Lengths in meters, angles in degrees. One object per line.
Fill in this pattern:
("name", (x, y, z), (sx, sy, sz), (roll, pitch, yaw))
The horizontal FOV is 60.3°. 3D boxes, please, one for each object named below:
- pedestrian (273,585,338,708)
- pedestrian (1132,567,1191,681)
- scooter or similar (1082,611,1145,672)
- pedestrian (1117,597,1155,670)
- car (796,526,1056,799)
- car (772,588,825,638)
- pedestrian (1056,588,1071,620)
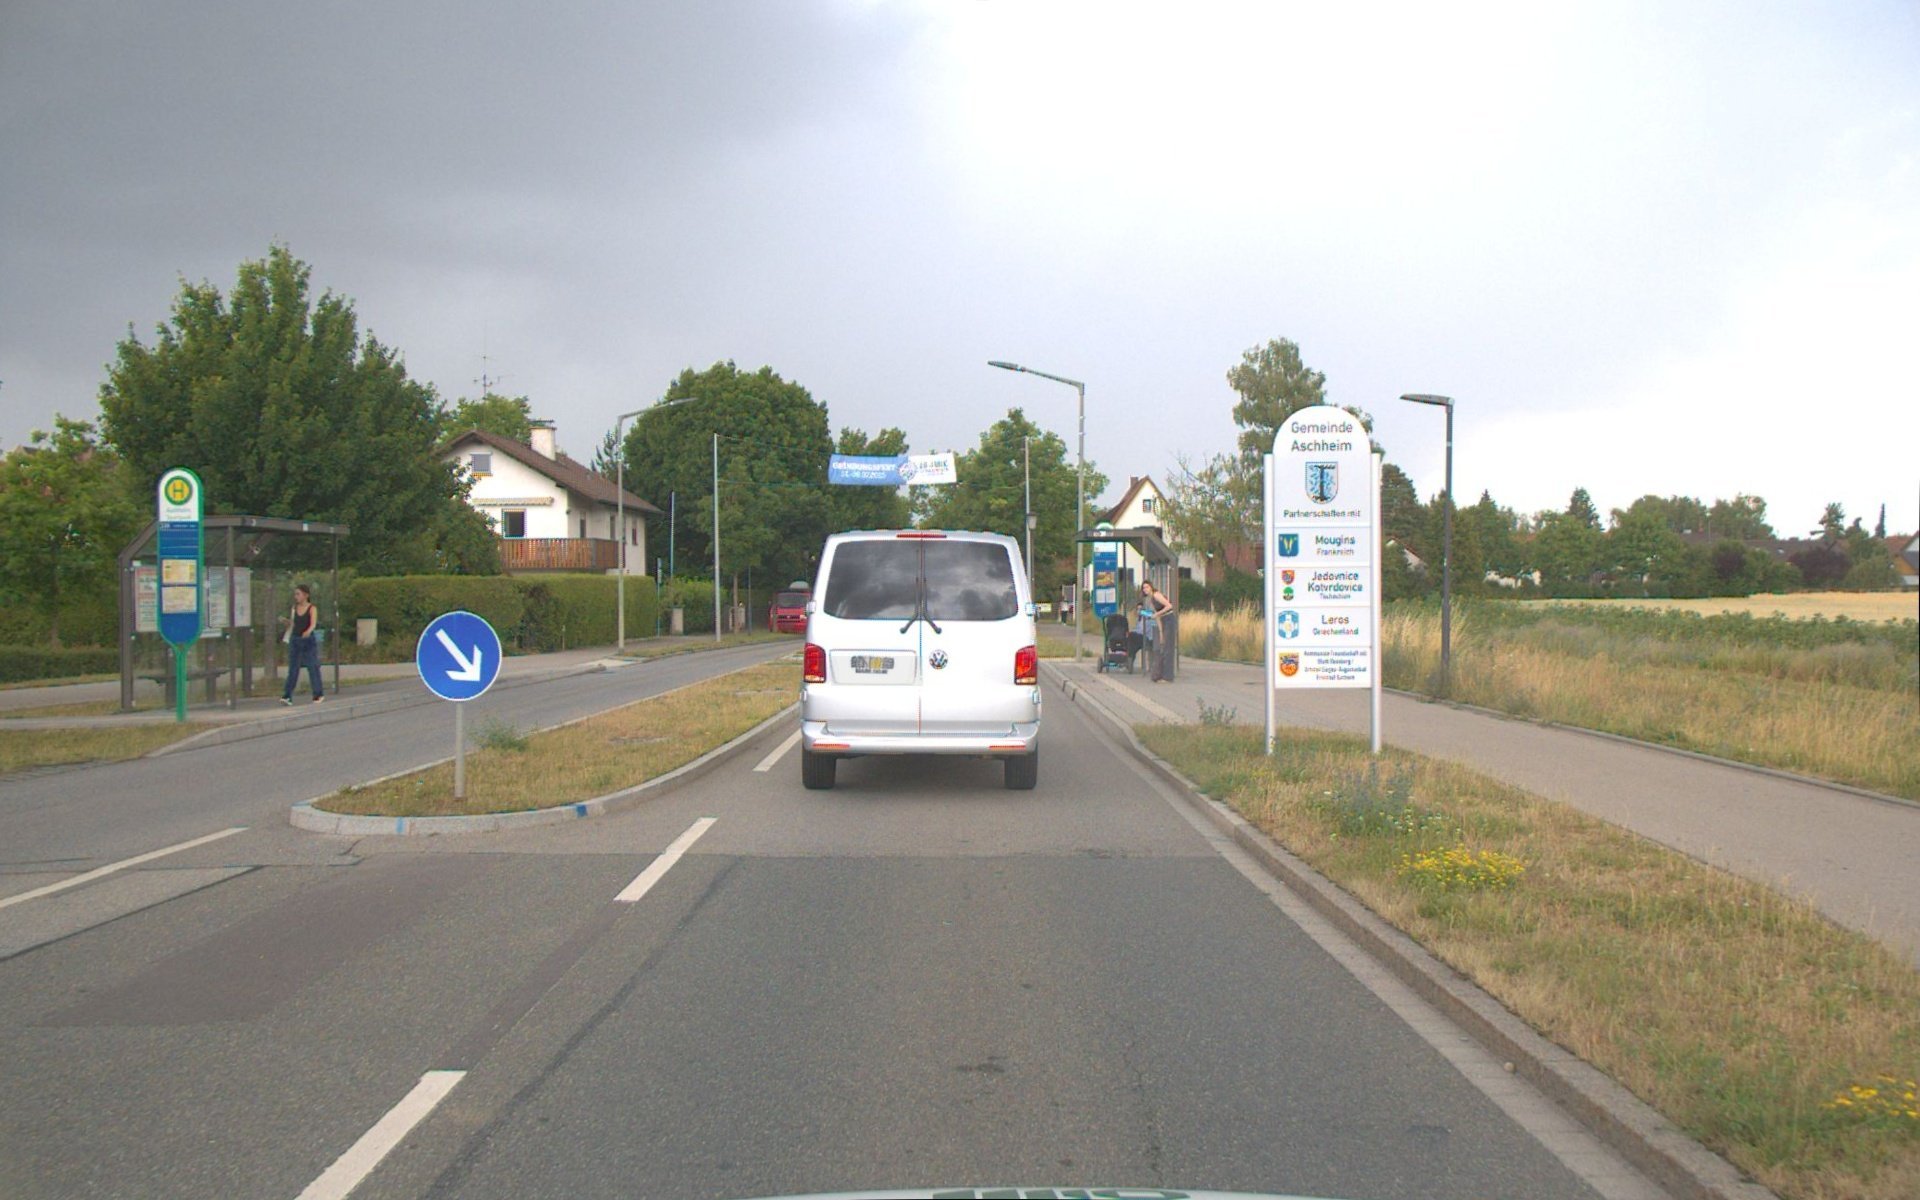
("pedestrian", (-9.083, 0.634, 22.965), (0.576, 1.665, 0.812), (0, 0, -1))
("pedestrian", (3.318, 0.389, 27.153), (0.765, 1.824, 0.779), (1, -1, 21))
("scooter or similar", (2.806, 0.760, 30.246), (0.694, 1.080, 1.056), (1, -1, 36))
("pedestrian", (3.274, 0.617, 30.787), (0.650, 1.325, 0.505), (1, 0, 9))
("car", (-0.277, 0.464, 13.849), (1.849, 1.945, 3.999), (0, 0, -1))
("car", (-7.029, 0.548, 72.365), (1.792, 2.066, 5.046), (1, 0, 0))
("pedestrian", (5.772, 0.207, 92.480), (0.820, 1.785, 0.870), (0, 0, 4))
